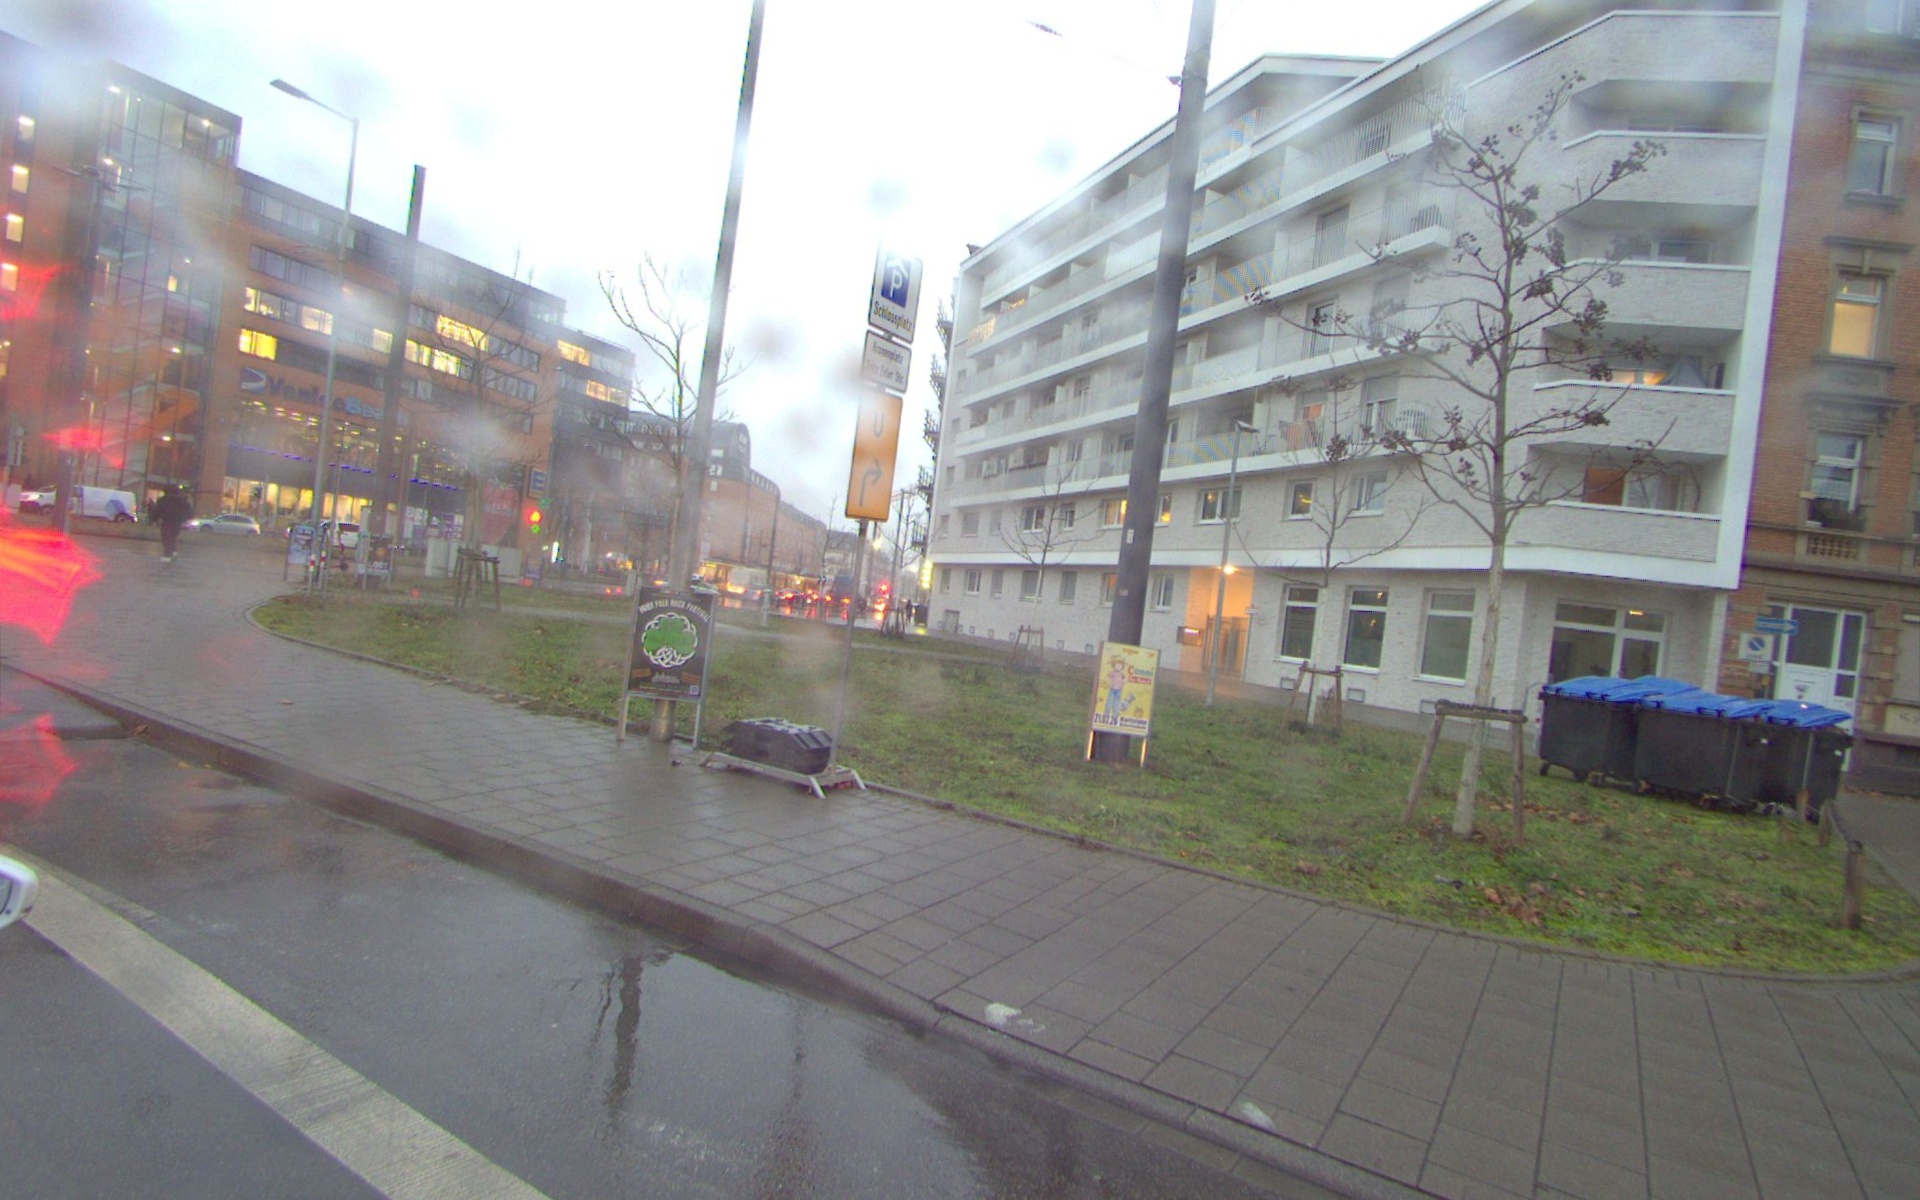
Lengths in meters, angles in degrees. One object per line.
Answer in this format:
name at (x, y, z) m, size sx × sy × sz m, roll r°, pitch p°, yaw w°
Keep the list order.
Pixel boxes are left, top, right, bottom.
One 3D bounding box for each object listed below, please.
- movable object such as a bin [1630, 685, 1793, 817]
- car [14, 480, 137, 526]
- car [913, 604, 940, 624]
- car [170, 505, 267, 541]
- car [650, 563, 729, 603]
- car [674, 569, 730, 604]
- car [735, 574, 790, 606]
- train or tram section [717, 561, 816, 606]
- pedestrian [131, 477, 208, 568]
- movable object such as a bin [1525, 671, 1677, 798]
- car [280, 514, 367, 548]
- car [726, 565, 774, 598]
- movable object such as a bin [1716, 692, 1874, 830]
movable object such as a bin at (9.628, 1.919, 12.933) m, size 1.003 × 1.434 × 1.218 m, roll 6°, pitch 1°, yaw -21°
car at (-46.247, -5.064, 52.727) m, size 1.767 × 1.614 × 4.431 m, roll 7°, pitch -1°, yaw 25°
car at (-4.147, 1.778, 127.014) m, size 1.962 × 2.036 × 4.376 m, roll 8°, pitch -2°, yaw 16°
car at (-43.727, -4.509, 59.427) m, size 1.767 × 1.406 × 4.227 m, roll 7°, pitch -1°, yaw 25°
car at (-15.819, -0.977, 59.005) m, size 1.798 × 1.873 × 4.682 m, roll 6°, pitch -1°, yaw 24°
car at (-19.778, -1.032, 77.157) m, size 1.963 × 2.036 × 4.003 m, roll 8°, pitch -2°, yaw 22°
car at (-14.526, -0.703, 74.104) m, size 1.963 × 1.898 × 3.998 m, roll 8°, pitch 1°, yaw 21°
train or tram section at (-19.522, -1.500, 103.345) m, size 2.293 × 3.300 × 16.666 m, roll 7°, pitch -1°, yaw 17°
pedestrian at (-18.881, -1.833, 24.054) m, size 1.164 × 1.945 × 0.890 m, roll 10°, pitch -2°, yaw -35°
movable object such as a bin at (9.015, 1.877, 14.201) m, size 1.016 × 1.513 × 1.323 m, roll 7°, pitch 0°, yaw -18°
car at (-41.353, -4.451, 65.427) m, size 1.767 × 1.553 × 4.444 m, roll 7°, pitch -1°, yaw 25°
car at (-17.550, -1.496, 84.282) m, size 1.962 × 2.036 × 4.957 m, roll 8°, pitch -2°, yaw 11°
movable object such as a bin at (10.769, 2.054, 13.014) m, size 1.021 × 1.507 × 1.039 m, roll 9°, pitch -2°, yaw -12°
